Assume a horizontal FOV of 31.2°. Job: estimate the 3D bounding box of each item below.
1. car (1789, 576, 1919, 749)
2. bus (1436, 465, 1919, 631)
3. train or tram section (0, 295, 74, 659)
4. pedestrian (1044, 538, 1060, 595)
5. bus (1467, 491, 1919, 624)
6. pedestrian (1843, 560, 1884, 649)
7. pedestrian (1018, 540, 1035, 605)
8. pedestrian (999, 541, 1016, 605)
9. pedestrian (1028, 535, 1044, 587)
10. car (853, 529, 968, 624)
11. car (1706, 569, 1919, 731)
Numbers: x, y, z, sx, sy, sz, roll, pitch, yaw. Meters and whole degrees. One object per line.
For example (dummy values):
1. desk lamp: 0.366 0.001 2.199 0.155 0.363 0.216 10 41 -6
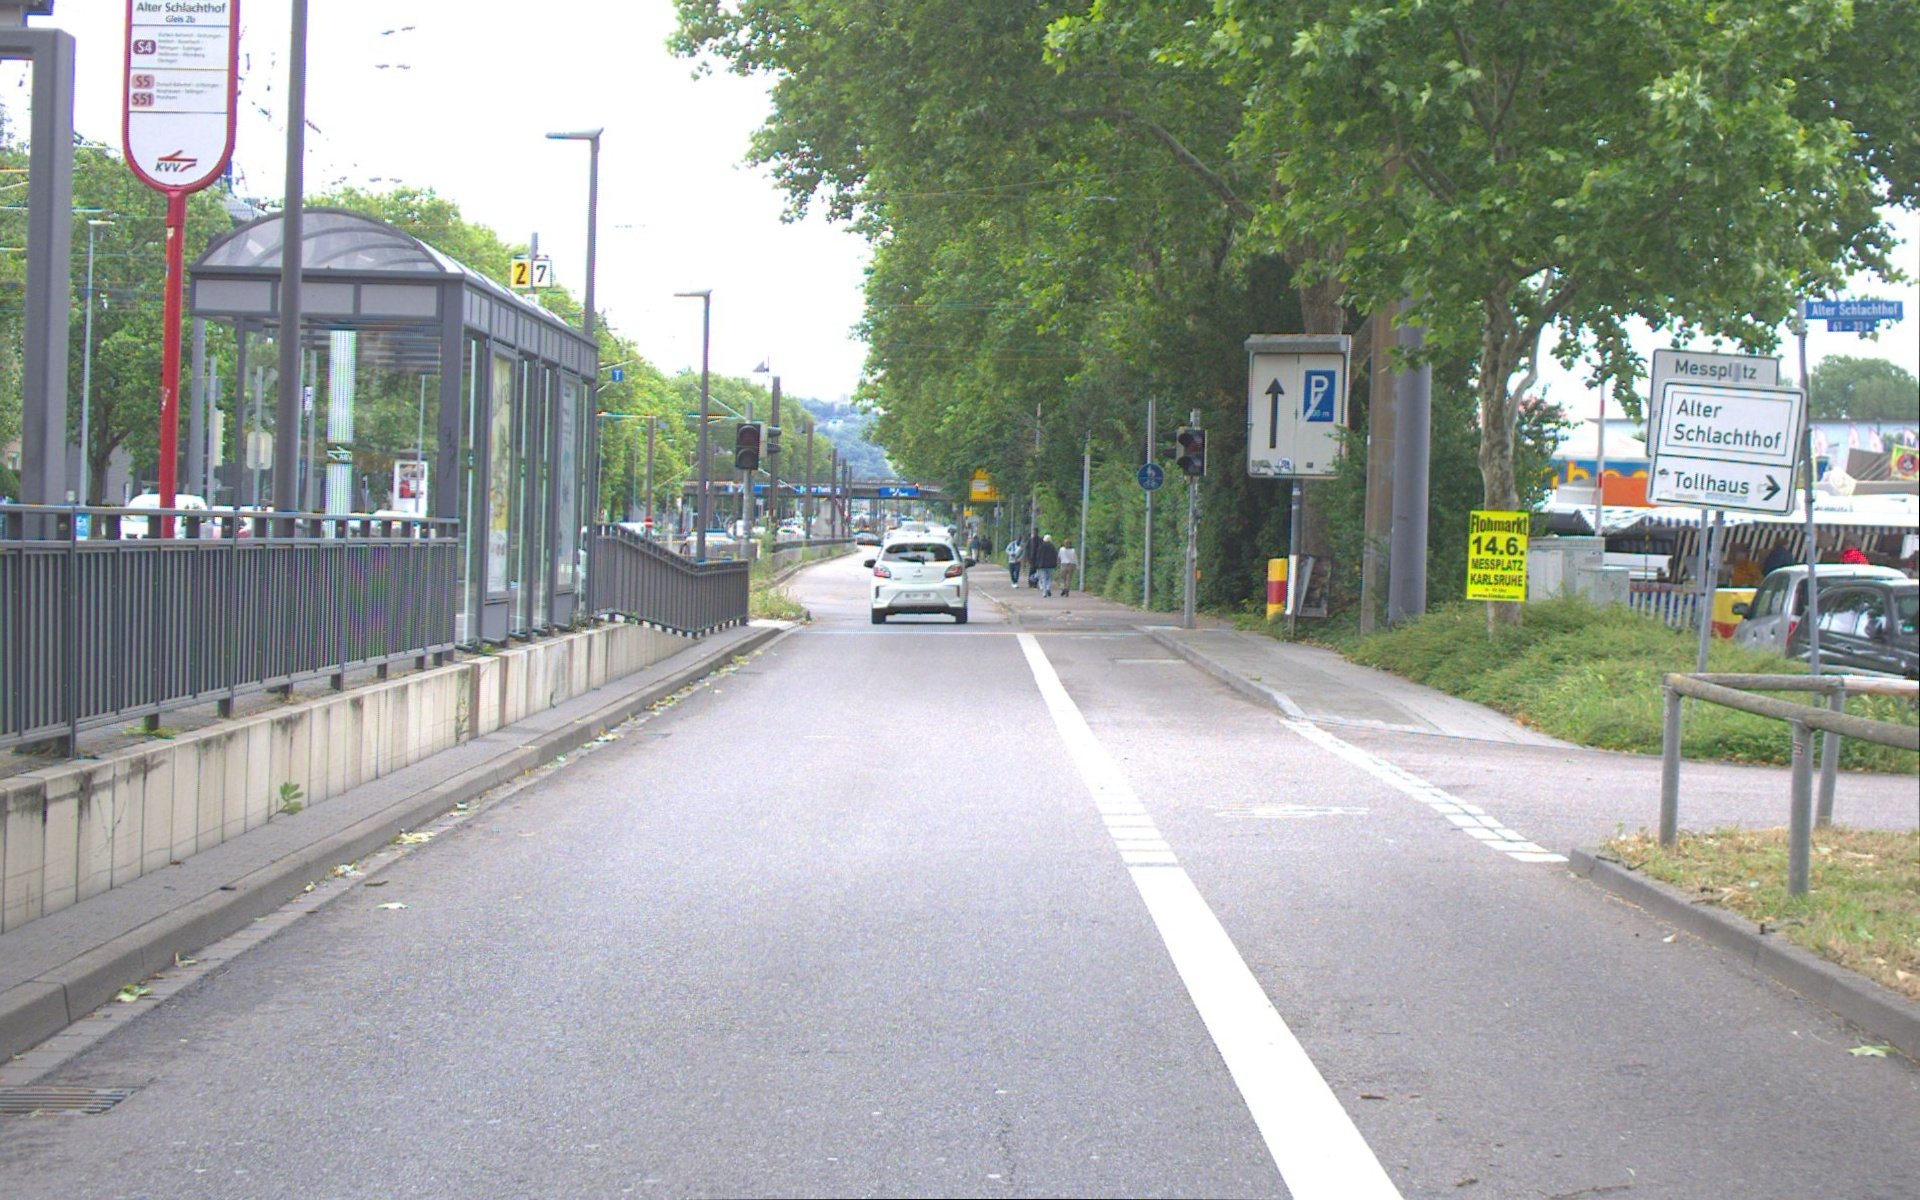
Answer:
1. car: 8.818 0.536 30.055 1.863 1.425 4.001 1 1 -5
2. bus: 14.078 -1.000 66.856 9.276 2.949 2.000 1 0 -3
3. train or tram section: -12.597 -1.395 35.245 3.180 4.164 14.734 1 1 0
4. pedestrian: 2.576 -0.946 96.327 0.396 1.580 0.538 1 0 0
5. bus: 14.195 -0.765 63.534 9.276 2.220 2.000 1 1 -3
6. pedestrian: 15.032 0.071 57.216 0.492 1.458 0.524 1 0 -3
7. pedestrian: 2.093 -0.866 108.038 0.396 2.007 0.402 2 0 15
8. pedestrian: 1.494 -0.860 108.350 0.396 2.007 0.402 2 0 15
9. pedestrian: 2.135 -1.085 96.300 0.396 1.439 0.563 1 0 0
10. car: -0.814 -0.431 59.369 1.841 1.546 4.000 1 1 1
11. car: 9.261 0.488 36.562 1.863 1.589 4.000 1 1 2
